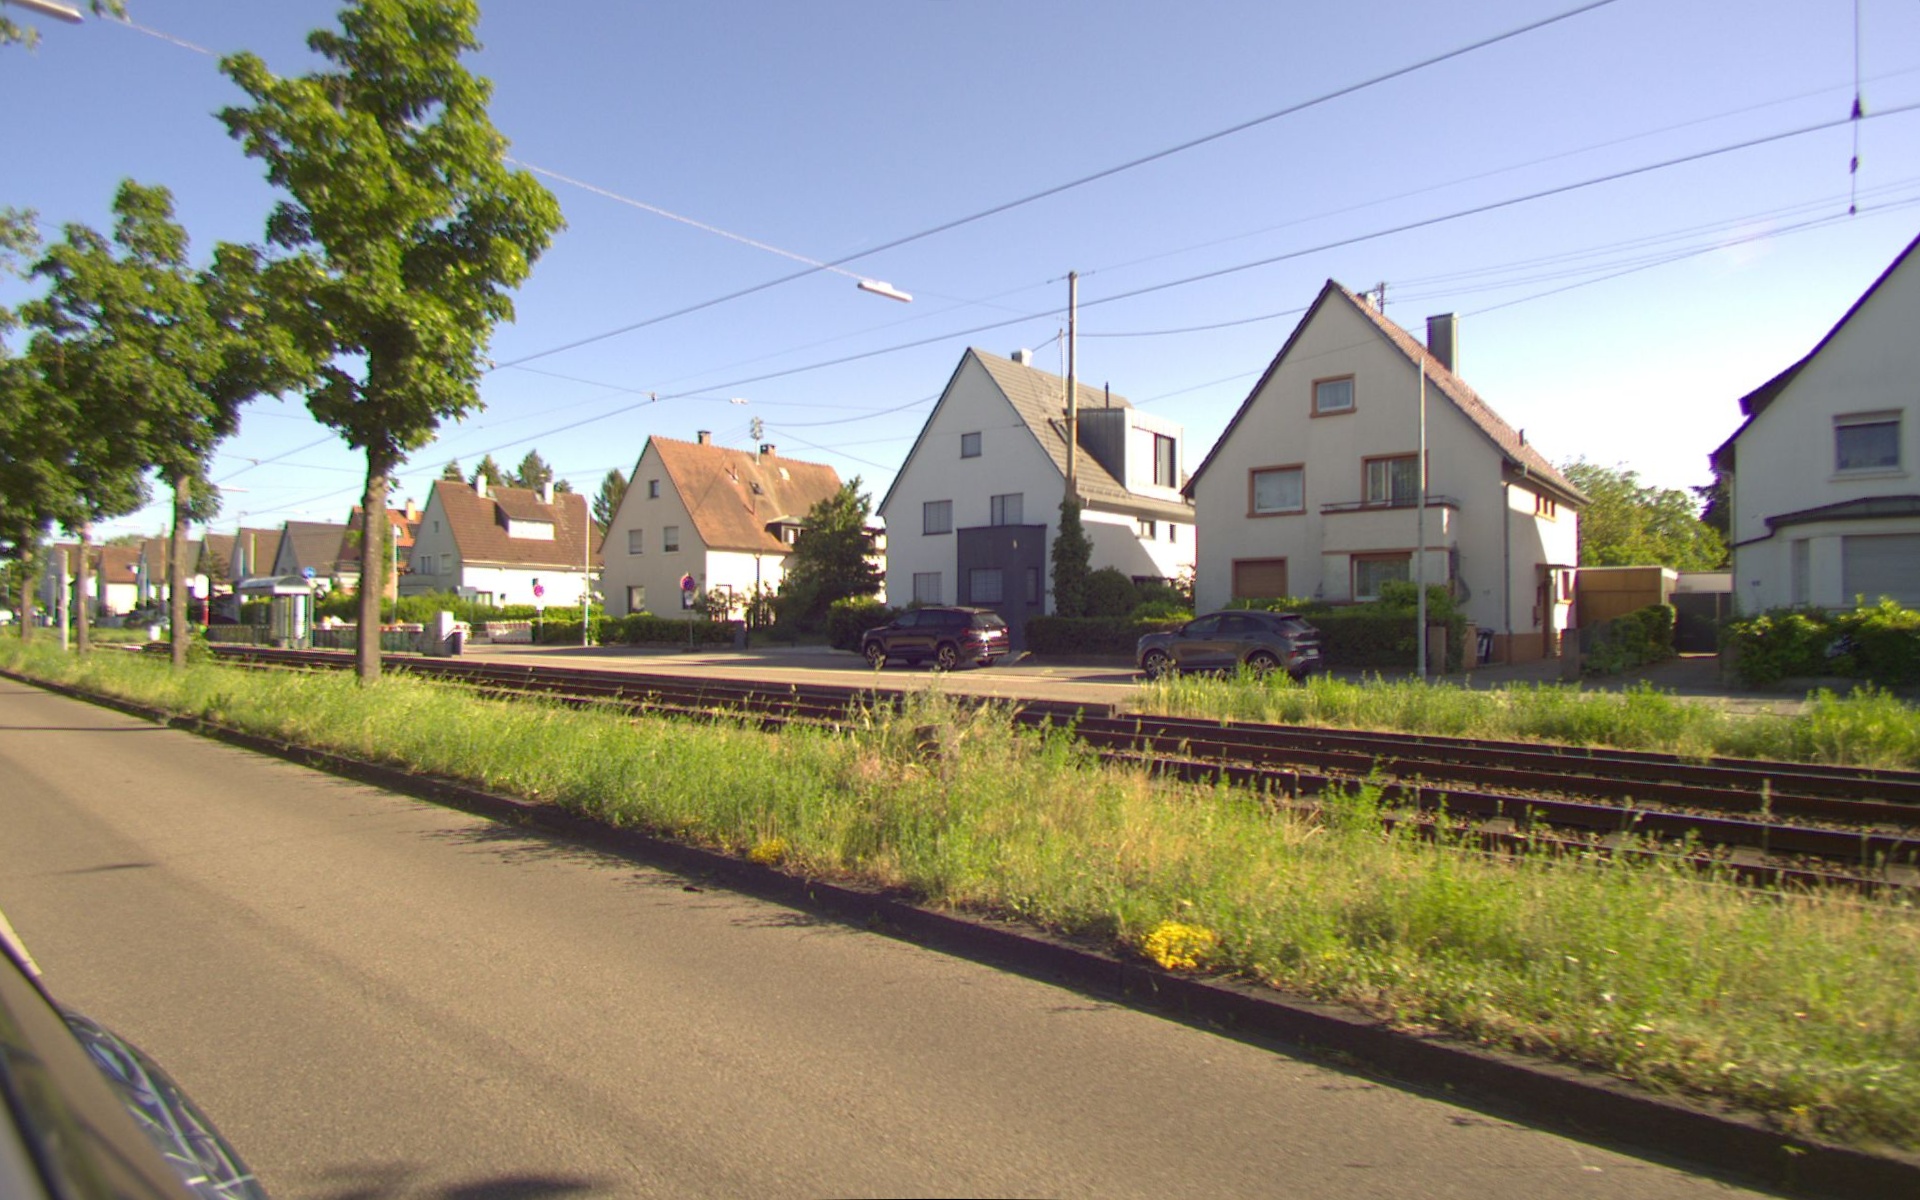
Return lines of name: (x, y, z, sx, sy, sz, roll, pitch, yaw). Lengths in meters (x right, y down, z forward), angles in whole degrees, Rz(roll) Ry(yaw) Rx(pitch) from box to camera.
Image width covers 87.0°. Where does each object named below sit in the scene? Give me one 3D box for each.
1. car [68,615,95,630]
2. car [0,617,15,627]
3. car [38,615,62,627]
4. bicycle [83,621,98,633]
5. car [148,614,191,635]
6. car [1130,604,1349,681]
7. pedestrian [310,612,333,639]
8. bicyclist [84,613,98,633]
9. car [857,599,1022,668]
car: (-97.575, 2.472, 112.413, 3.754, 1.501, 1.716, 0, 0, 41)
car: (-148.536, 3.386, 157.593, 4.001, 1.517, 1.767, 0, 0, 44)
car: (-110.614, 2.533, 123.059, 3.821, 1.392, 1.733, 0, 0, 41)
bicycle: (-86.348, 2.634, 100.524, 2.308, 1.143, 0.843, 0, 0, 41)
car: (-67.883, 2.038, 86.876, 4.837, 1.691, 1.973, 0, 0, 41)
car: (6.061, 0.856, 22.224, 4.253, 1.506, 1.906, 0, 0, 41)
pedestrian: (-36.715, 1.473, 58.190, 0.787, 1.546, 0.809, -2, -2, 18)
bicyclist: (-86.294, 2.287, 100.478, 1.071, 1.901, 0.843, -1, 0, 41)
car: (-0.634, 0.862, 28.035, 4.388, 1.726, 1.973, 0, 0, 41)
